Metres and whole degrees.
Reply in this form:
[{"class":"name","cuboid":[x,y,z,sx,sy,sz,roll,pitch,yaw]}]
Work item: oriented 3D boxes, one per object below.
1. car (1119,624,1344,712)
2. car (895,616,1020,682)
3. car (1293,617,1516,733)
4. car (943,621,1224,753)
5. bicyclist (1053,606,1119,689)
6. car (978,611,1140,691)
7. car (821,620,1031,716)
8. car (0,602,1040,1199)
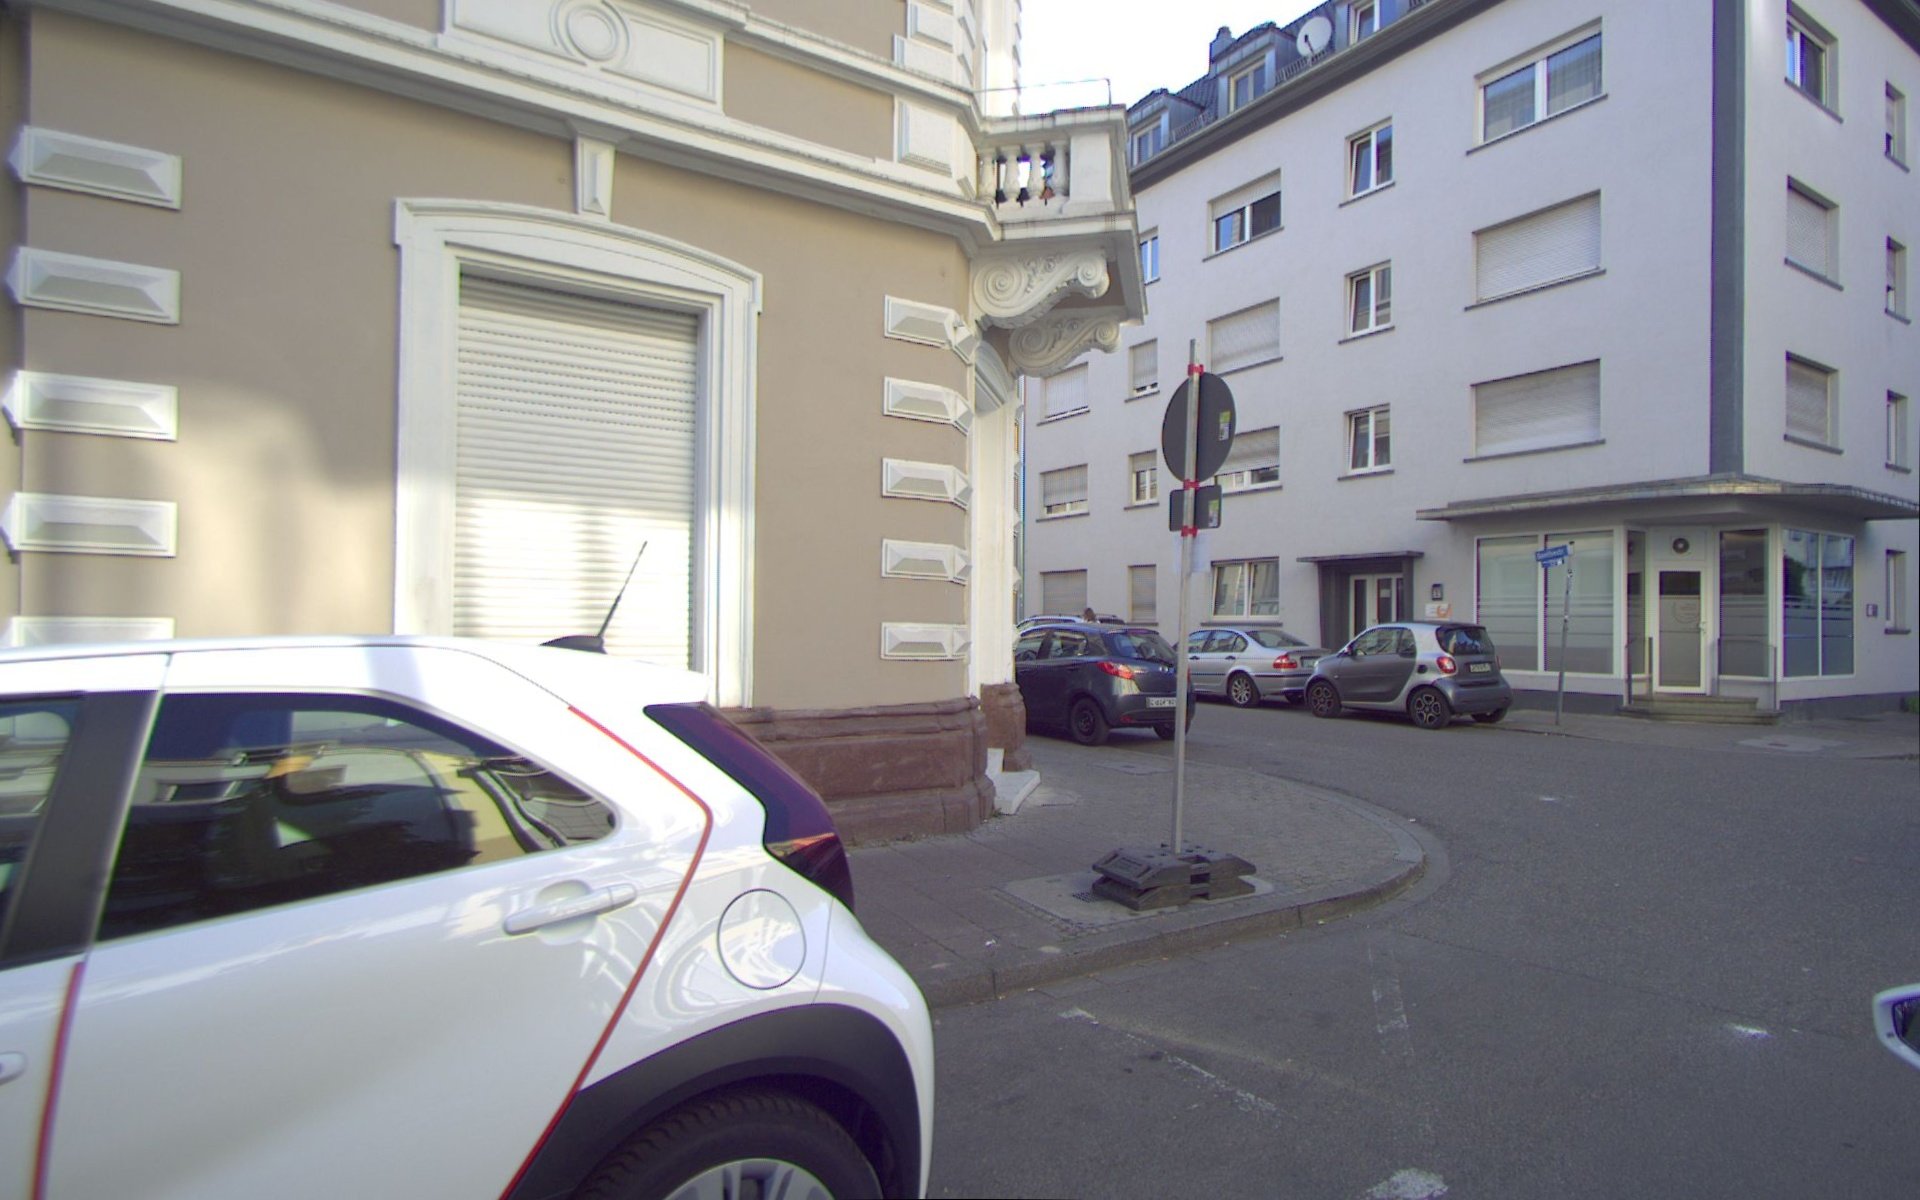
[{"class":"car","cuboid":[5.031,1.204,19.161,1.586,1.422,4.180,1,-1,-33]},{"class":"car","cuboid":[-0.146,1.264,27.063,1.587,1.560,3.685,1,0,-34]},{"class":"car","cuboid":[6.851,1.087,15.682,1.575,1.560,2.772,1,0,-31]},{"class":"car","cuboid":[1.503,1.028,13.331,1.713,1.470,3.639,1,-1,-36]},{"class":"bicyclist","cuboid":[2.258,0.833,18.010,0.727,1.431,0.932,1,0,-32]},{"class":"car","cuboid":[2.204,1.108,23.316,1.586,1.626,3.994,1,0,-33]},{"class":"car","cuboid":[-0.745,1.097,17.801,1.883,1.481,4.287,1,-1,-31]},{"class":"car","cuboid":[-2.128,0.811,1.746,4.218,1.527,1.911,1,-3,-31]}]
